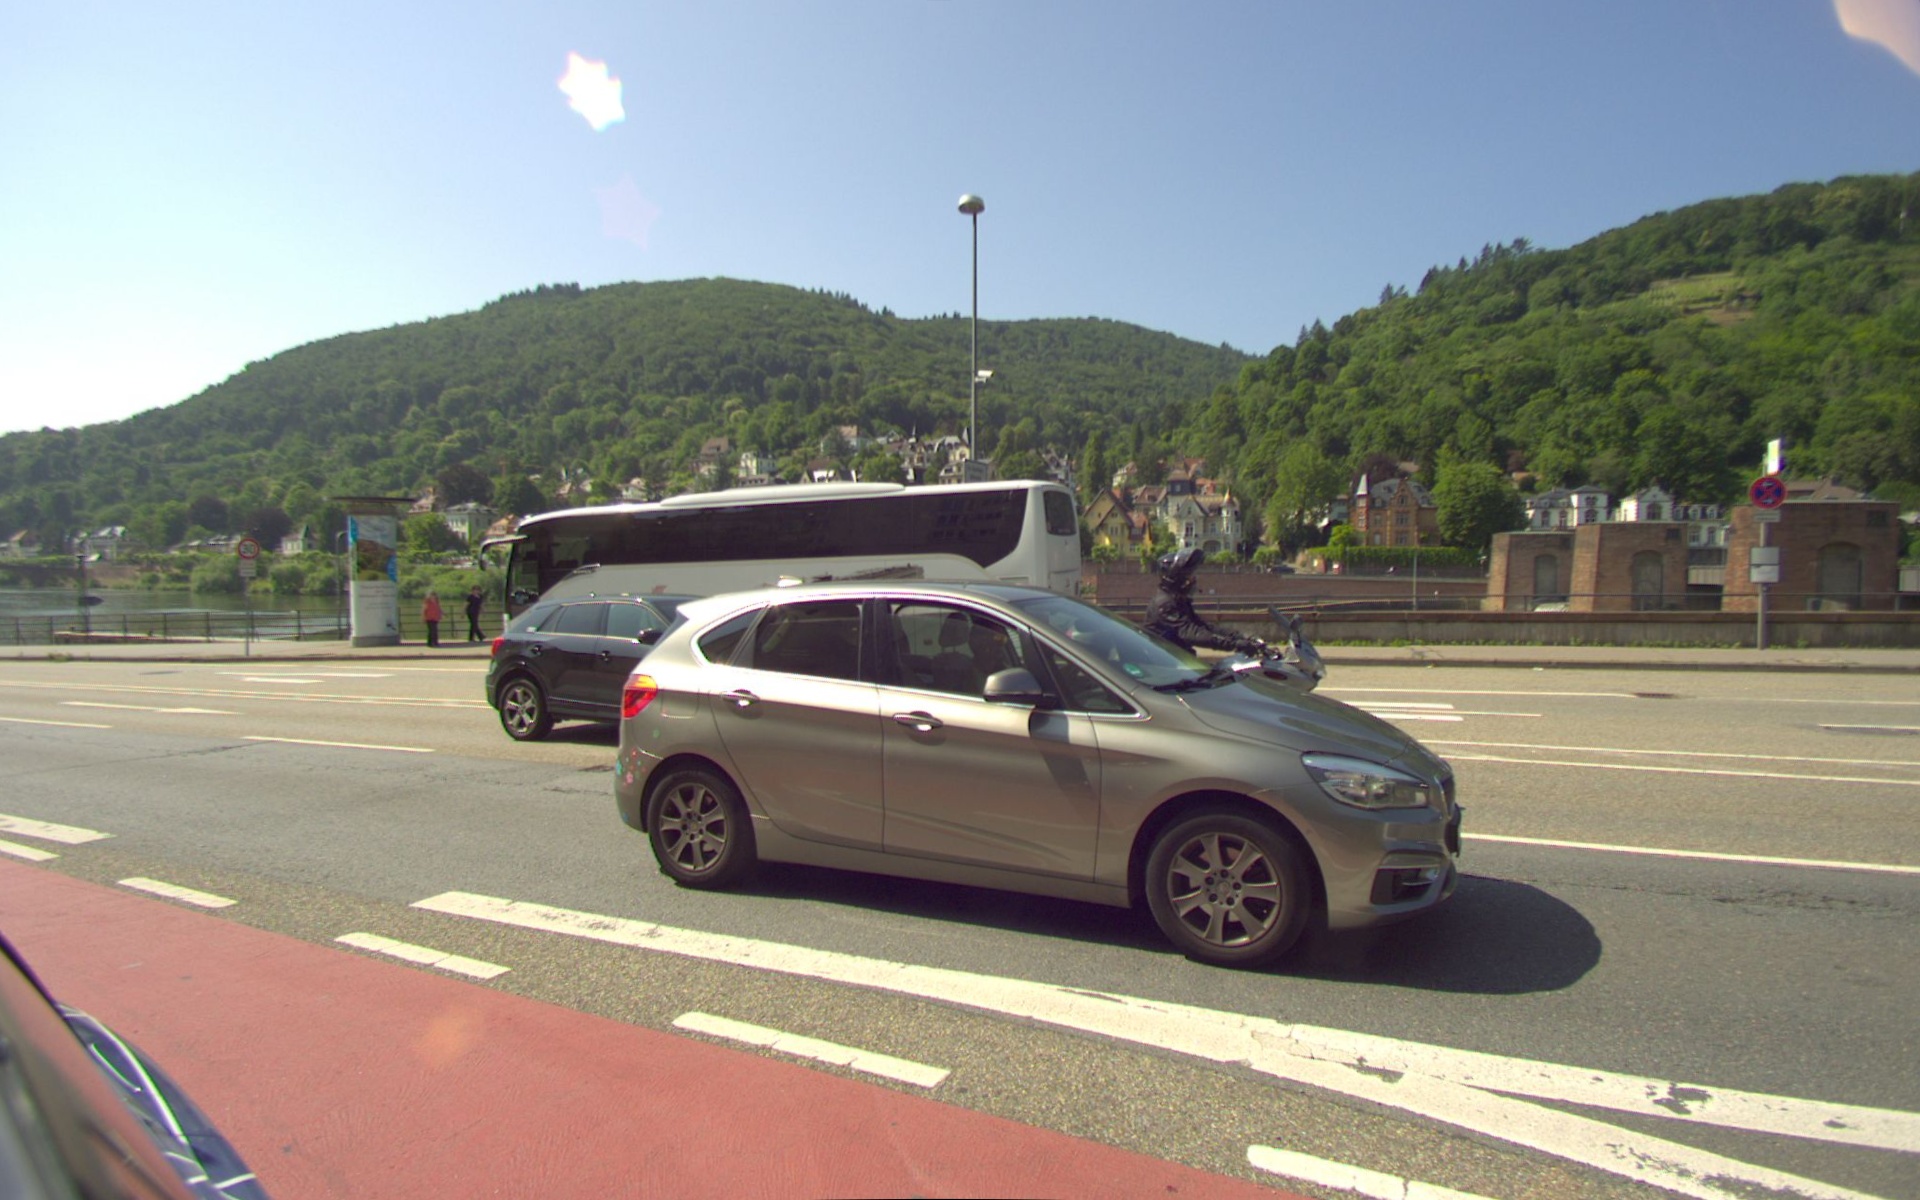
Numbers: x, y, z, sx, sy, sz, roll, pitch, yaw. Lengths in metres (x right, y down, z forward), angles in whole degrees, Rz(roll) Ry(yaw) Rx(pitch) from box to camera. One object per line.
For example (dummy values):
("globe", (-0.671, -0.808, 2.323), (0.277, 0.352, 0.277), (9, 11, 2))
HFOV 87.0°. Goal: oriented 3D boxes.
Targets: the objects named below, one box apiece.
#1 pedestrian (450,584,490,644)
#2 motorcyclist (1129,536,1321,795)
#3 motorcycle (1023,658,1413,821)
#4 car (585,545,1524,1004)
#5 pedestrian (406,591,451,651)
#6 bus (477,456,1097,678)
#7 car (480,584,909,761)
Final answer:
("pedestrian", (-14.282, 0.408, 29.518), (0.765, 1.722, 0.683), (-1, 1, 10))
("motorcyclist", (1.953, 0.435, 7.381), (1.150, 1.697, 1.070), (-1, 0, 26))
("motorcycle", (1.853, 0.930, 7.353), (2.591, 0.926, 1.032), (-1, 0, 26))
("car", (0.364, 0.584, 5.187), (4.283, 1.532, 1.878), (0, 1, 26))
("pedestrian", (-14.639, 0.564, 27.896), (0.810, 1.633, 0.701), (-1, 1, 17))
("bus", (-3.938, -0.534, 21.290), (13.152, 3.828, 2.946), (-1, 3, 22))
("car", (-2.774, 0.618, 10.479), (4.130, 1.525, 1.858), (0, 1, 27))
